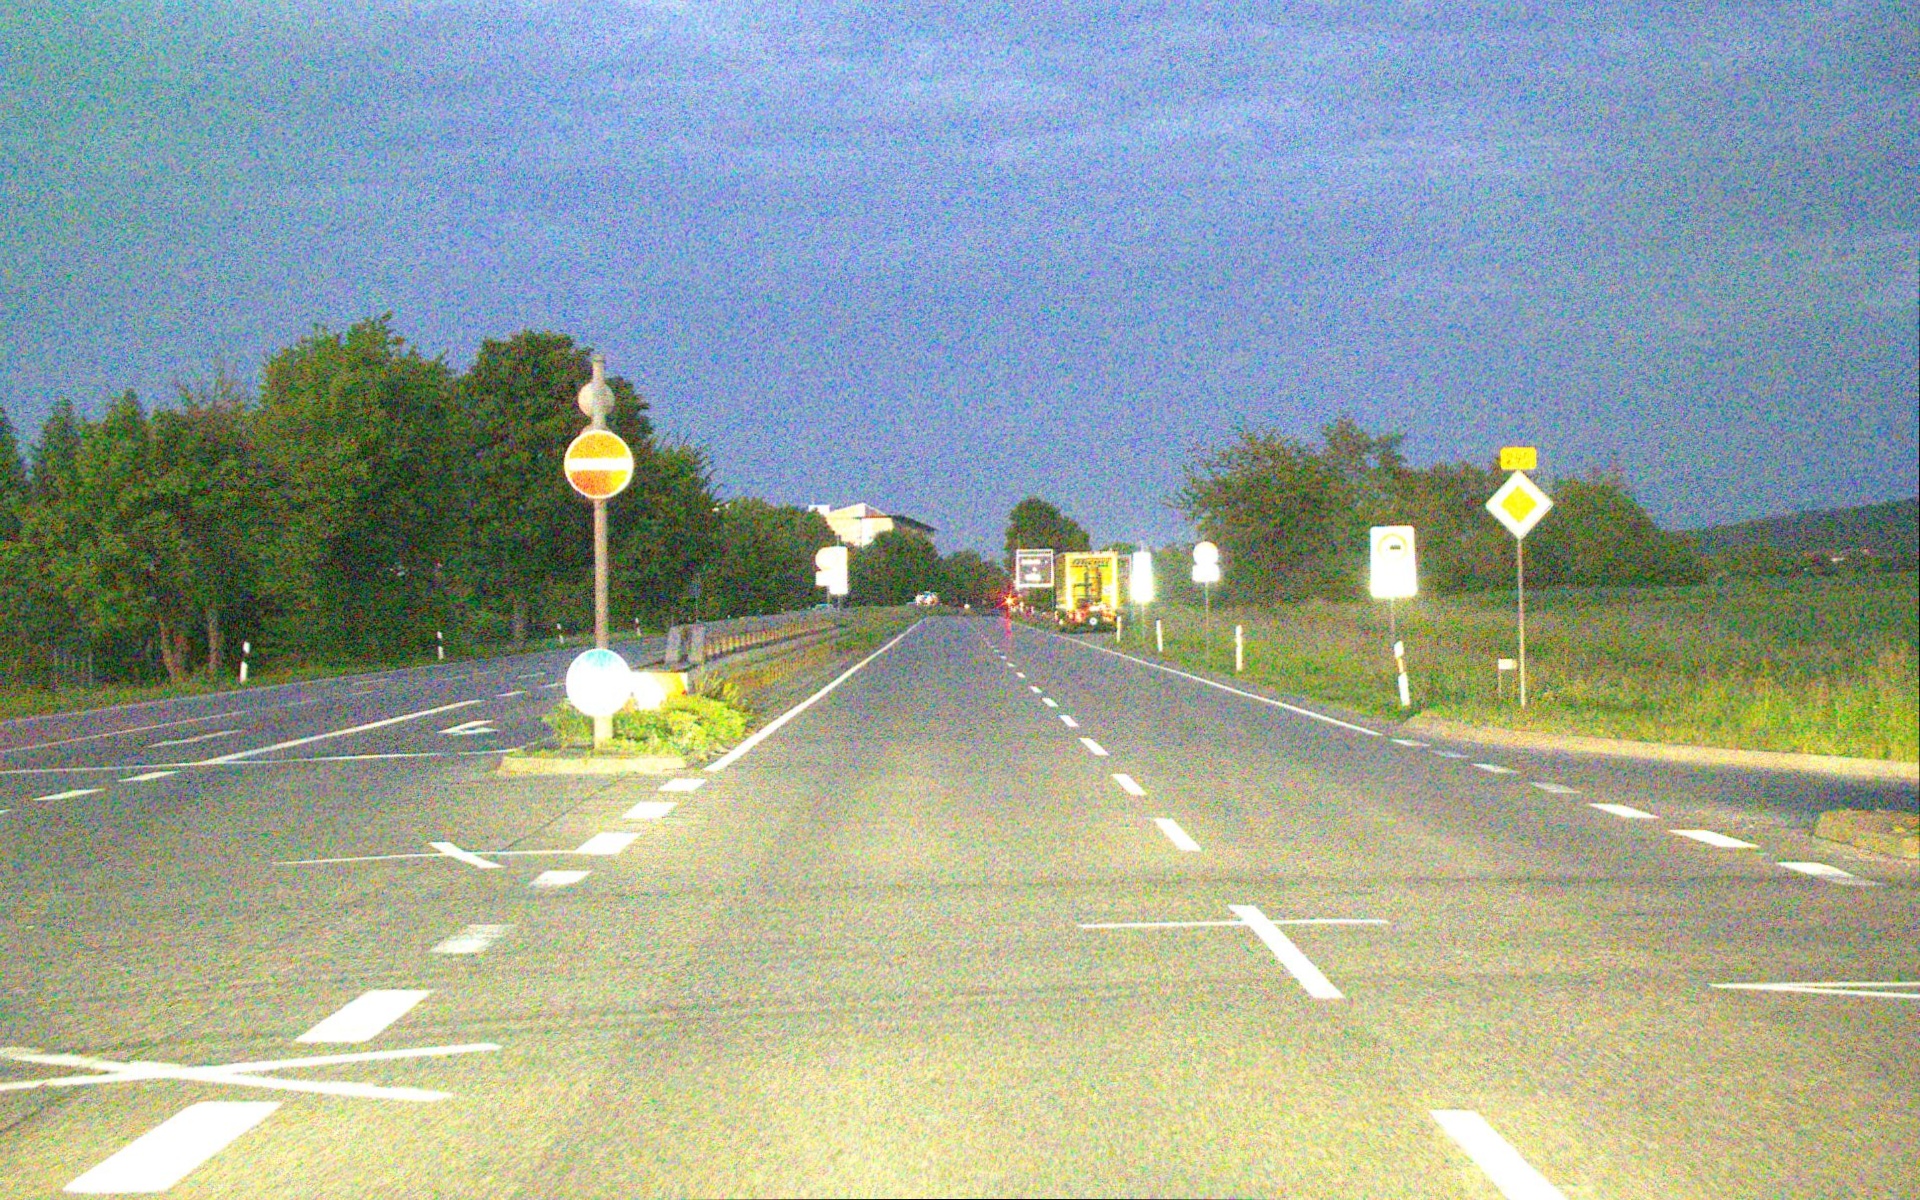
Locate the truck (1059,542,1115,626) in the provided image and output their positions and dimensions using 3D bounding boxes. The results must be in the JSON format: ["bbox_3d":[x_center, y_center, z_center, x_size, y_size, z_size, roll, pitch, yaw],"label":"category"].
[{"bbox_3d":[6.290,-0.808,170.364,2.579,4.057,6.129,1,1,1],"label":"truck"}]

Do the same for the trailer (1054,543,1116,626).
[{"bbox_3d":[6.368,-0.789,177.004,2.622,4.090,12.937,-1,0,0],"label":"trailer"}]
